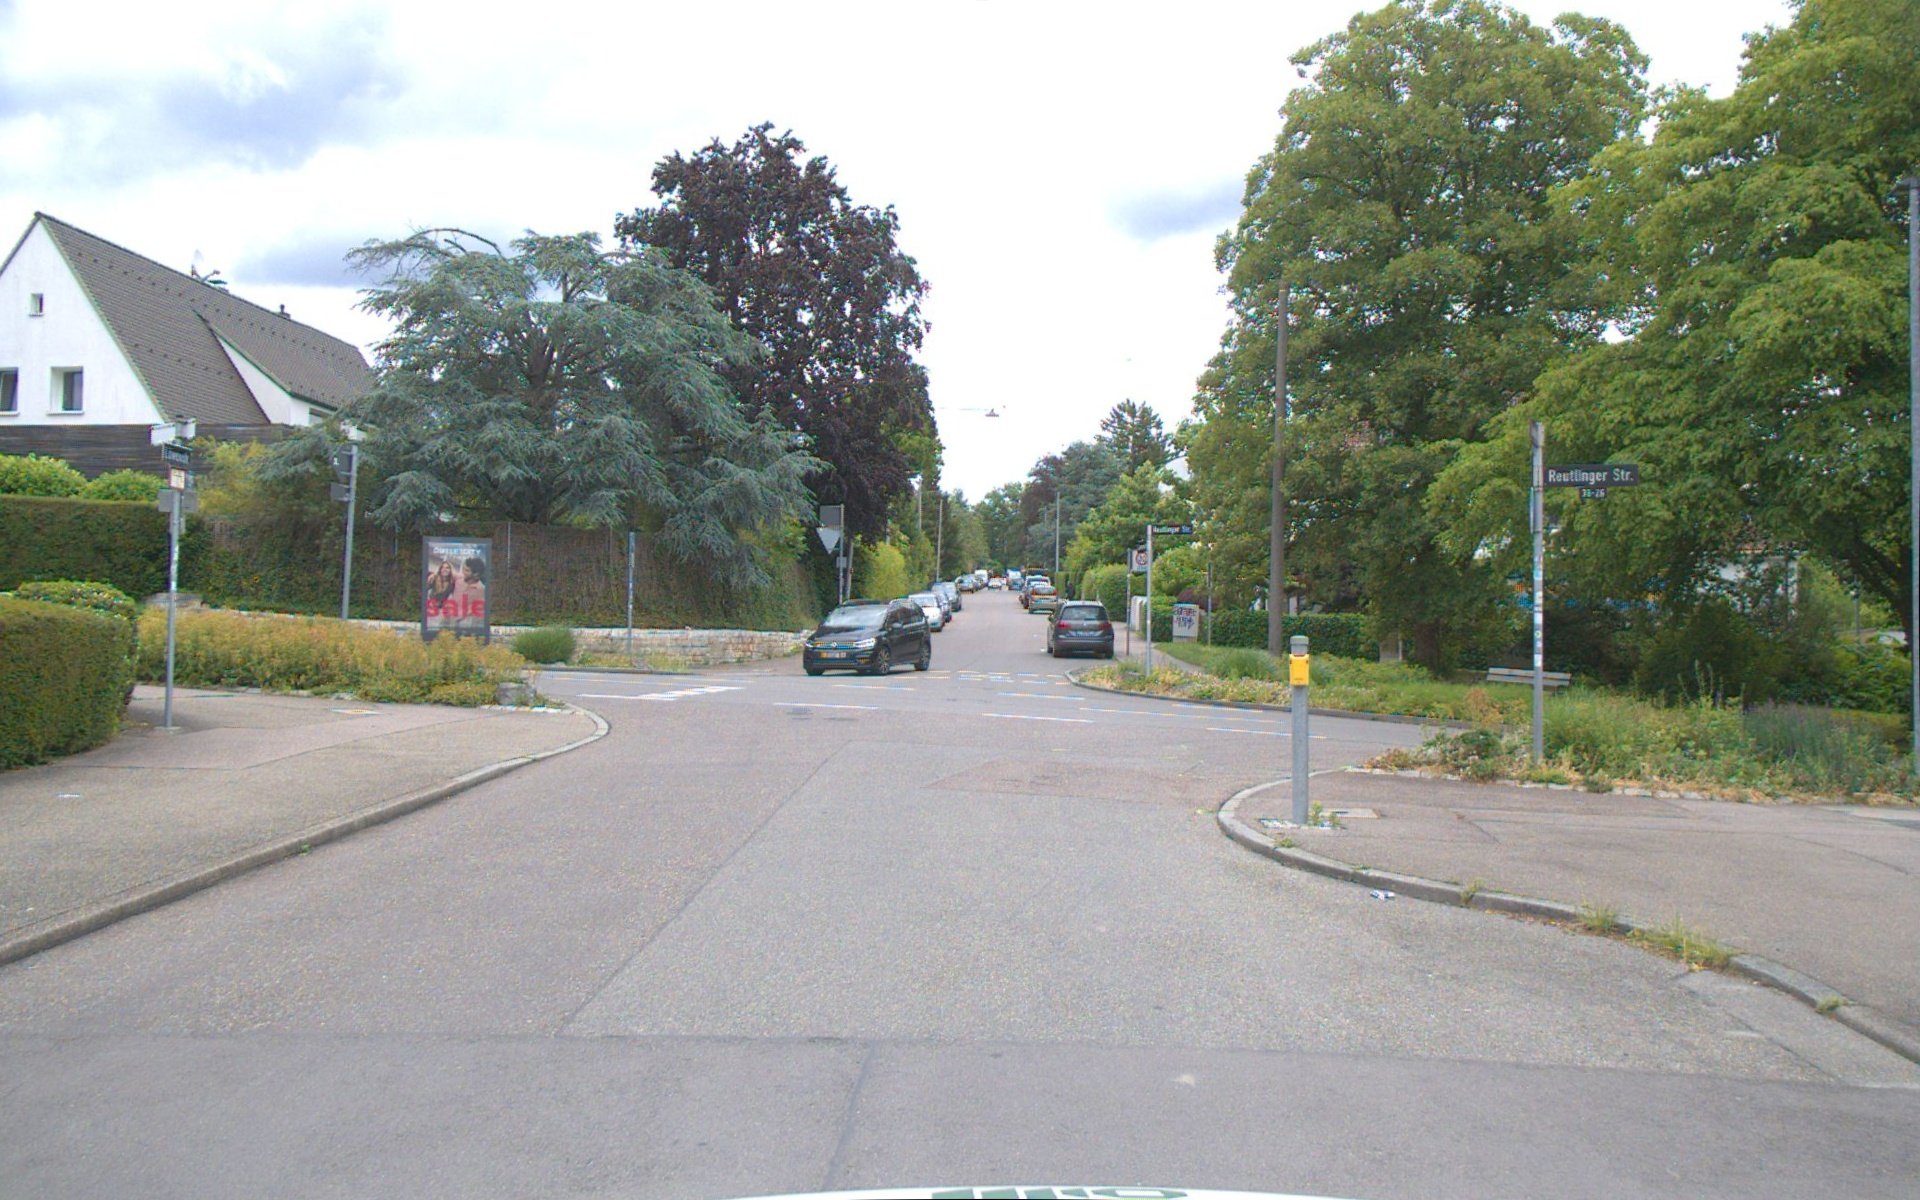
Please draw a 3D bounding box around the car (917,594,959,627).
[{"bbox_3d":[-1.033,0.480,78.513,1.907,1.467,3.999,1,0,-1],"label":"car"}]

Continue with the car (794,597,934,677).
[{"bbox_3d":[-2.070,0.798,37.107,1.808,1.640,4.314,1,0,16],"label":"car"}]

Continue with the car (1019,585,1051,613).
[{"bbox_3d":[4.556,-0.042,100.947,1.711,1.668,3.727,1,0,0],"label":"car"}]

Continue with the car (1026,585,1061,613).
[{"bbox_3d":[4.599,-0.053,91.251,1.576,1.438,3.472,3,0,-1],"label":"car"}]

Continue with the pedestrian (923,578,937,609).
[{"bbox_3d":[-2.061,-0.434,113.550,0.836,2.048,0.872,3,0,-4],"label":"pedestrian"}]

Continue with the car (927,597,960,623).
[{"bbox_3d":[-0.963,0.556,96.378,1.907,1.467,3.999,1,0,-1],"label":"car"}]

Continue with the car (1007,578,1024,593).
[{"bbox_3d":[6.342,-1.643,188.986,1.778,1.601,4.000,1,0,1],"label":"car"}]

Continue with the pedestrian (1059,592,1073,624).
[{"bbox_3d":[6.453,0.481,101.134,0.741,1.904,0.620,3,0,1],"label":"pedestrian"}]

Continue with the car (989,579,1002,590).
[{"bbox_3d":[4.496,-1.972,211.144,1.621,1.358,3.781,3,0,1],"label":"car"}]

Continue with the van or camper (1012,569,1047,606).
[{"bbox_3d":[4.775,-0.851,113.853,2.070,2.447,5.244,1,0,-1],"label":"van or camper"}]

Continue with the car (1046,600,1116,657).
[{"bbox_3d":[3.474,0.799,48.019,1.780,1.563,4.000,1,0,1],"label":"car"}]

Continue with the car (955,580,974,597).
[{"bbox_3d":[0.443,-1.088,156.350,1.680,1.488,3.657,3,0,1],"label":"car"}]

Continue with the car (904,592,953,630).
[{"bbox_3d":[-1.273,0.431,67.879,1.907,1.467,3.999,1,0,-1],"label":"car"}]

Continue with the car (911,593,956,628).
[{"bbox_3d":[-1.149,0.455,73.028,1.907,1.467,3.999,1,0,-1],"label":"car"}]
